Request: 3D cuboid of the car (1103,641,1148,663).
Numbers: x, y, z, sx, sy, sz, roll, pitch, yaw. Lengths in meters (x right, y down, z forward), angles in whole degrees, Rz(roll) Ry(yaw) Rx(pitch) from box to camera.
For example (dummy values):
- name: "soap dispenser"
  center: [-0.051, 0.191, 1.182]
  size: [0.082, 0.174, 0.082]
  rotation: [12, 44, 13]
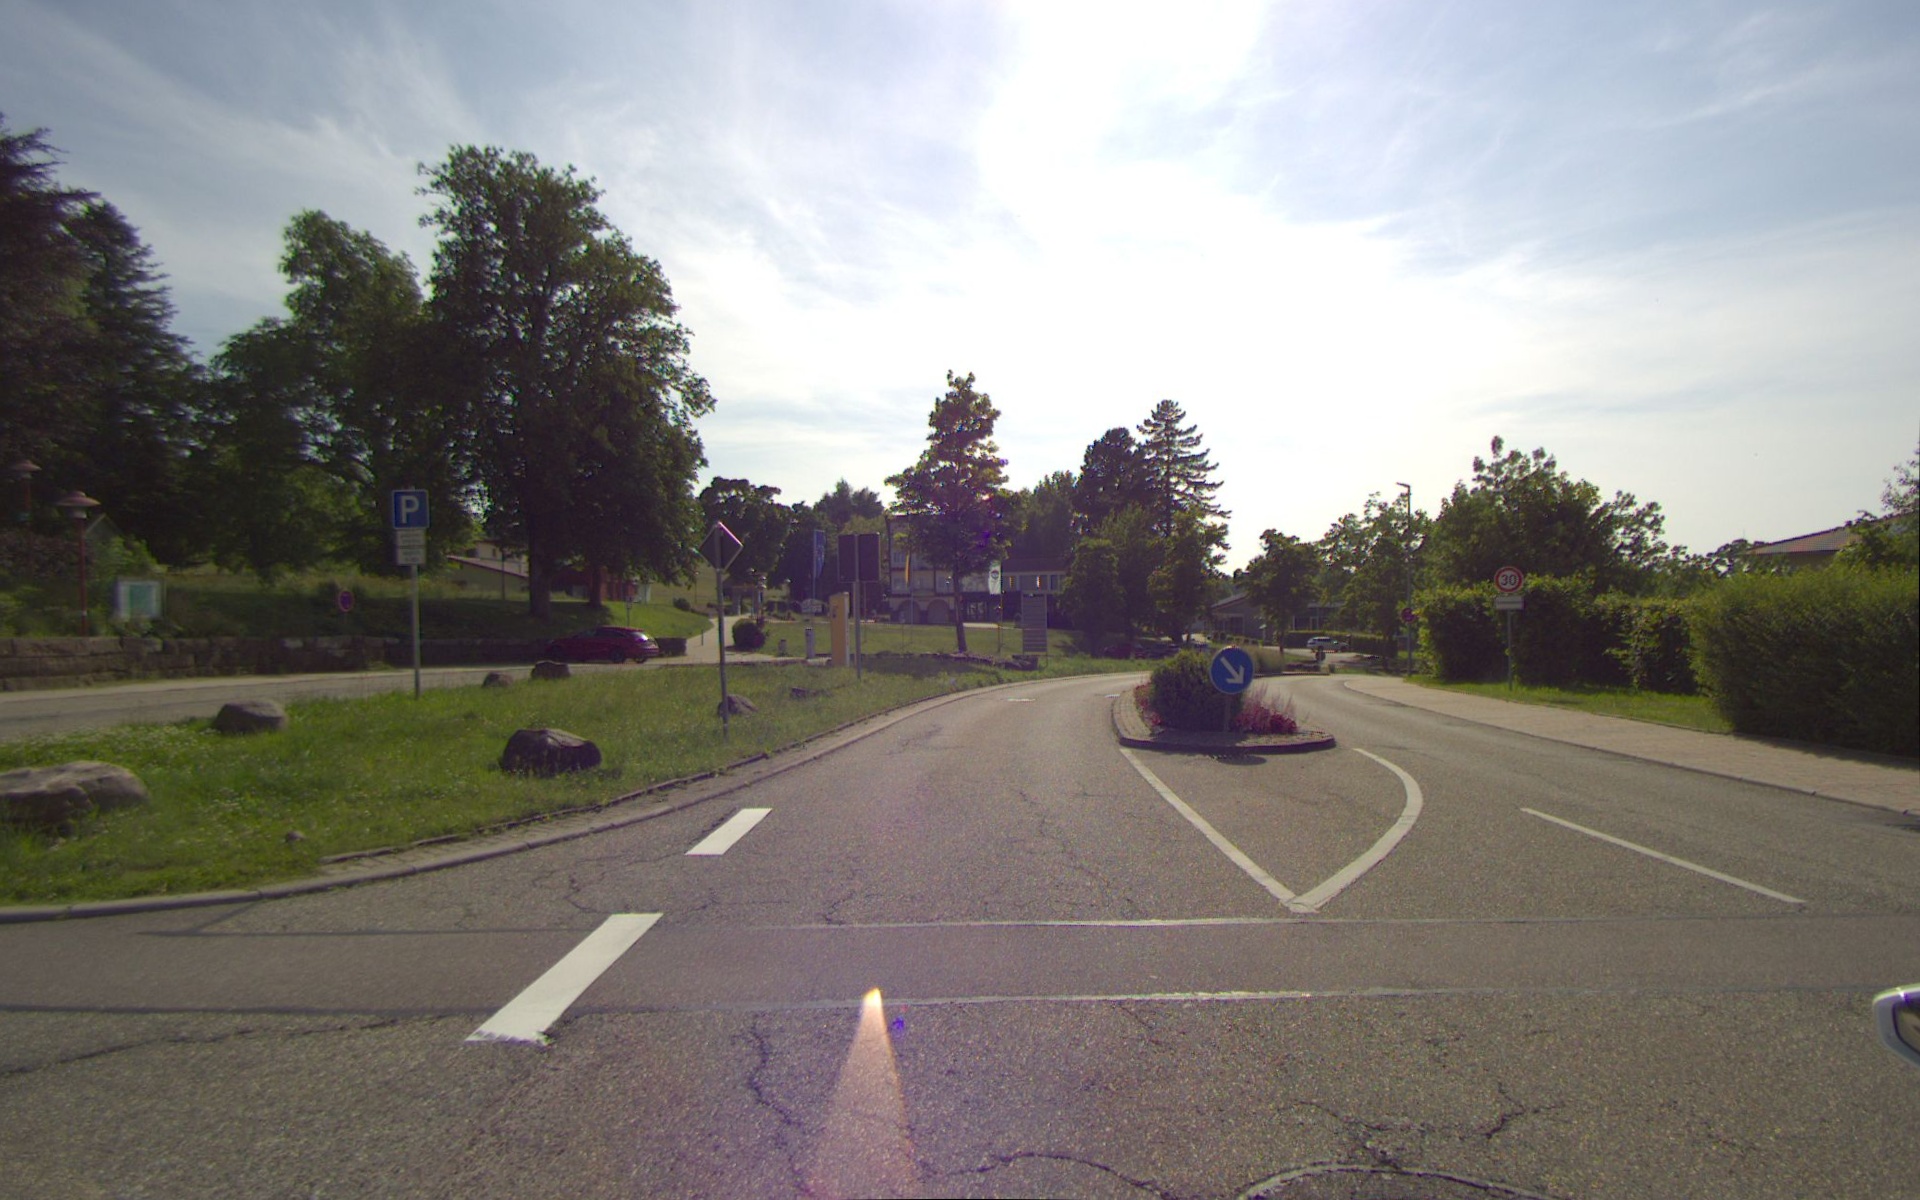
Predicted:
- name: "car"
  center: [13.173, 4.145, 80.108]
  size: [1.762, 1.489, 3.171]
  rotation: [4, -2, -39]

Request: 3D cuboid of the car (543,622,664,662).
- name: "car"
  center: [-14.049, 1.644, 39.616]
  size: [4.153, 1.417, 1.825]
  rotation: [1, -2, 14]

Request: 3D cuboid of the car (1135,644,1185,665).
- name: "car"
  center: [16.230, 4.408, 81.570]
  size: [1.760, 1.452, 3.674]
  rotation: [4, -2, -37]

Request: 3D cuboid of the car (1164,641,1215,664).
- name: "car"
  center: [19.234, 4.399, 84.287]
  size: [1.761, 1.630, 3.898]
  rotation: [4, -2, -38]

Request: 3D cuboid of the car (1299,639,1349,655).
- name: "car"
  center: [39.705, 5.082, 109.660]
  size: [4.640, 1.555, 1.998]
  rotation: [0, 3, -5]
